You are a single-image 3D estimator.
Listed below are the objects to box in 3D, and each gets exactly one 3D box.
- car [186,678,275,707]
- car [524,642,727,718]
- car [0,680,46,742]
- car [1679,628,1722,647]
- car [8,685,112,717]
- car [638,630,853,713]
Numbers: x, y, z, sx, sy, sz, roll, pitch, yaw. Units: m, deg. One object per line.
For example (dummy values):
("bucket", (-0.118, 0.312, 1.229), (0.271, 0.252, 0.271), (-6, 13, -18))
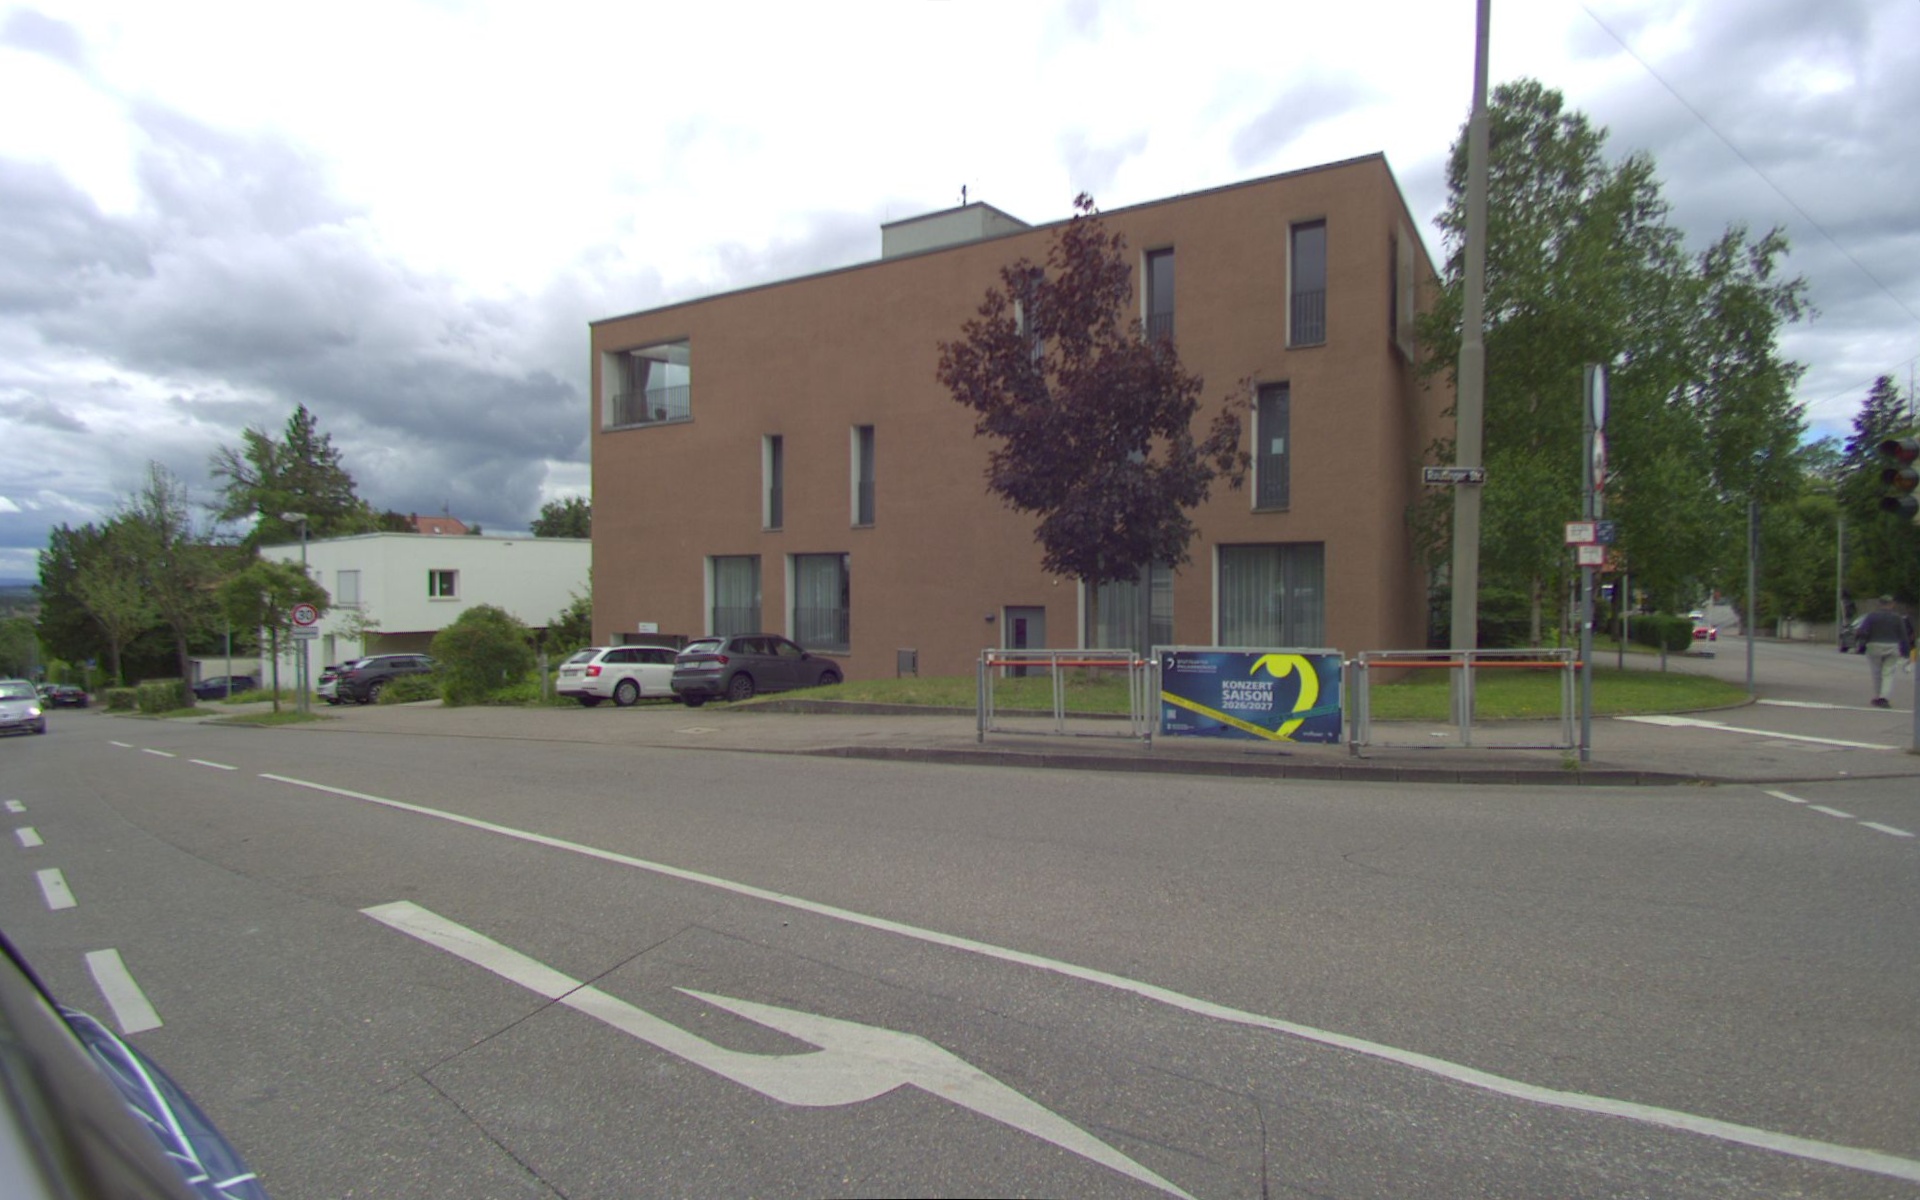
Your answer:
("car", (-47.298, 5.949, 65.675), (1.998, 1.570, 4.379), (-3, -2, 39))
("car", (-8.154, 1.901, 24.976), (1.998, 1.570, 4.379), (-3, -2, 39))
("car", (-27.494, 3.213, 28.866), (1.970, 1.608, 4.003), (-2, -3, -44))
("car", (54.457, 2.756, 74.491), (1.991, 1.209, 3.962), (-1, 0, 28))
("car", (-53.599, 5.975, 60.328), (1.998, 1.570, 4.379), (-3, -2, 39))
("car", (-4.650, 1.511, 22.458), (1.998, 1.570, 4.379), (-3, -2, 39))
